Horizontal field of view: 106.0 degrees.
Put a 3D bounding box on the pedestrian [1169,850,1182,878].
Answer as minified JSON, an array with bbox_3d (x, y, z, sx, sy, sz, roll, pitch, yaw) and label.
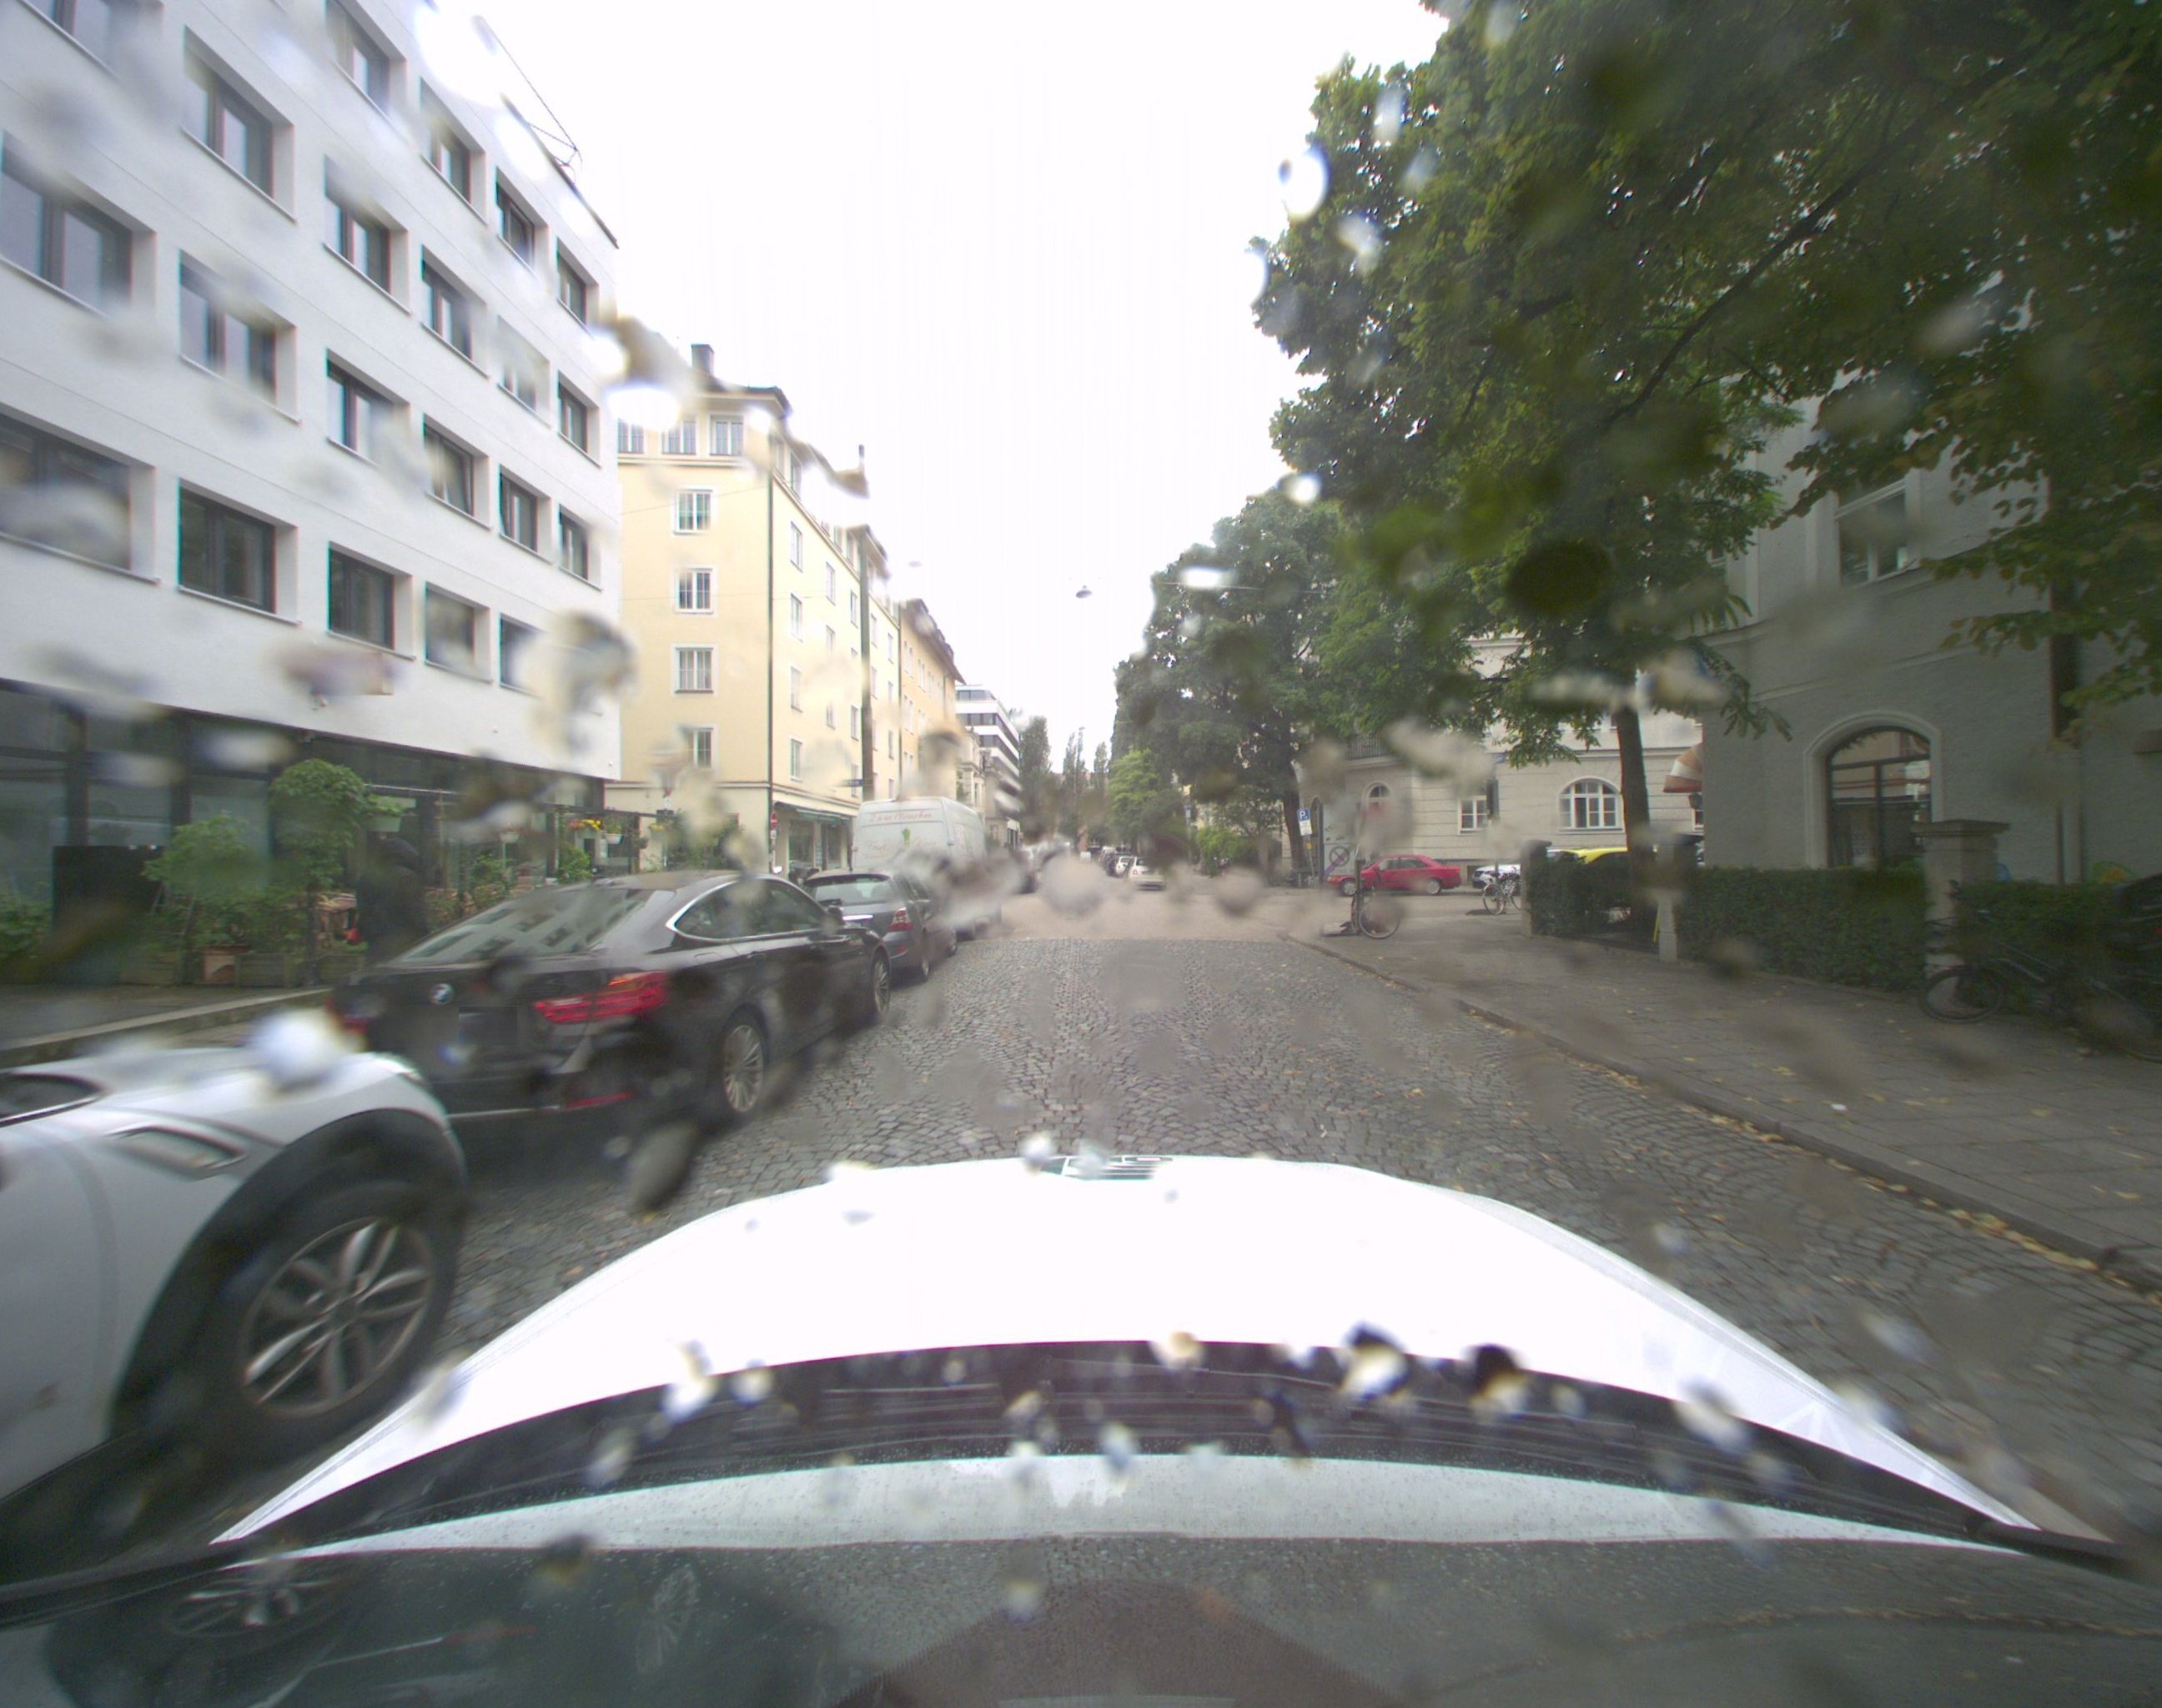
[{"bbox_3d":[6.300,0.657,54.284,0.631,1.808,0.655,0,-1,-24],"label":"pedestrian"}]

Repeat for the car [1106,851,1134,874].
[{"bbox_3d":[2.950,0.652,62.756,1.869,1.673,5.489,0,-1,0],"label":"car"}]

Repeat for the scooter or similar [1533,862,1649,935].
[{"bbox_3d":[8.580,0.750,13.762,1.588,1.172,0.407,-2,-1,23],"label":"scooter or similar"}]

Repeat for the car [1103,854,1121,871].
[{"bbox_3d":[3.627,0.982,96.285,1.794,1.949,4.859,2,-1,0],"label":"car"}]

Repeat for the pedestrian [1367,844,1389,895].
[{"bbox_3d":[11.127,0.575,30.566,0.492,1.876,0.741,0,-1,-5],"label":"pedestrian"}]

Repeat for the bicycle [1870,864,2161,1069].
[{"bbox_3d":[6.680,0.687,5.764,0.426,1.198,1.731,-6,-1,1],"label":"bicycle"}]

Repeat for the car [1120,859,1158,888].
[{"bbox_3d":[3.088,1.037,44.134,1.643,1.422,4.630,3,-1,-1],"label":"car"}]

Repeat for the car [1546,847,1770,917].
[{"bbox_3d":[13.907,0.659,19.896,4.048,1.597,1.911,0,-1,11],"label":"car"}]

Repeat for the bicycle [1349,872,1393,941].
[{"bbox_3d":[5.154,0.905,14.554,0.386,1.147,1.592,-1,-1,7],"label":"bicycle"}]

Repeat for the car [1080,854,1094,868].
[{"bbox_3d":[0.927,1.021,120.044,1.989,1.936,4.001,-1,-1,2],"label":"car"}]

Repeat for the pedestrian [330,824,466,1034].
[{"bbox_3d":[-6.335,0.660,7.594,0.613,1.840,0.812,-1,-1,-6],"label":"pedestrian"}]

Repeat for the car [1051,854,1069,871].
[{"bbox_3d":[-2.151,0.836,83.988,1.768,1.718,4.389,0,-1,-1],"label":"car"}]

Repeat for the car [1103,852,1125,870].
[{"bbox_3d":[3.330,0.746,83.138,1.957,1.759,4.952,0,-1,0],"label":"car"}]

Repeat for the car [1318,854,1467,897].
[{"bbox_3d":[10.480,0.716,27.681,4.443,1.358,1.764,-1,0,7],"label":"car"}]

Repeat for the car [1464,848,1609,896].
[{"bbox_3d":[14.918,0.588,26.805,3.867,1.521,1.568,-1,-1,5],"label":"car"}]

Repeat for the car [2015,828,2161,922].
[{"bbox_3d":[23.614,0.447,17.830,3.894,1.969,1.780,0,-1,11],"label":"car"}]

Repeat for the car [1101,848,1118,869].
[{"bbox_3d":[3.530,0.547,101.728,1.889,2.426,5.609,3,0,0],"label":"car"}]

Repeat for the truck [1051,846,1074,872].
[{"bbox_3d":[-2.256,0.567,100.490,2.501,3.031,6.382,-3,0,-1],"label":"truck"}]

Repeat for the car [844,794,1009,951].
[{"bbox_3d":[-2.900,0.341,16.780,1.969,2.574,5.797,-3,-1,2],"label":"car"}]

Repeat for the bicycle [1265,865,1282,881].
[{"bbox_3d":[10.111,0.968,42.848,0.489,0.812,2.276,0,-1,5],"label":"bicycle"}]

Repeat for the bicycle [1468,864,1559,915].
[{"bbox_3d":[9.764,0.819,18.441,1.594,1.069,0.739,-3,-4,3],"label":"bicycle"}]

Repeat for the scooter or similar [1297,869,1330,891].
[{"bbox_3d":[9.252,1.020,32.410,1.176,0.848,0.927,0,-1,9],"label":"scooter or similar"}]

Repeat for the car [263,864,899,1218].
[{"bbox_3d":[-2.764,0.872,5.918,1.720,1.464,4.474,-3,0,1],"label":"car"}]

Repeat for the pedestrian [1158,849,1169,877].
[{"bbox_3d":[5.456,0.586,54.070,0.677,1.850,0.577,0,-1,1],"label":"pedestrian"}]

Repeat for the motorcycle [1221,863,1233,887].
[{"bbox_3d":[6.757,0.962,37.692,0.361,1.090,1.404,0,-1,3],"label":"motorcycle"}]

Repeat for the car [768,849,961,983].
[{"bbox_3d":[-2.714,0.714,11.106,1.657,1.482,3.979,0,-1,-2],"label":"car"}]

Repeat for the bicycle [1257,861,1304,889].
[{"bbox_3d":[8.154,0.847,33.375,1.826,1.124,0.564,-1,0,11],"label":"bicycle"}]

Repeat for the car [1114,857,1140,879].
[{"bbox_3d":[3.244,0.967,57.651,1.625,1.469,3.658,2,-1,0],"label":"car"}]

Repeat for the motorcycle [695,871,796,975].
[{"bbox_3d":[-4.856,0.946,11.954,0.672,1.369,2.058,0,-1,-2],"label":"motorcycle"}]

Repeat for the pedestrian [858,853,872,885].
[{"bbox_3d":[-10.957,0.765,41.299,0.520,1.642,0.629,0,-1,0],"label":"pedestrian"}]

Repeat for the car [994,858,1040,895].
[{"bbox_3d":[-2.849,0.978,37.211,1.847,1.586,4.745,0,-1,-1],"label":"car"}]

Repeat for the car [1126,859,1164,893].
[{"bbox_3d":[2.863,0.960,36.976,1.496,1.471,3.796,0,-1,1],"label":"car"}]

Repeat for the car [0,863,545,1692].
[{"bbox_3d":[-2.839,0.770,1.010,1.686,1.504,3.780,0,-1,3],"label":"car"}]

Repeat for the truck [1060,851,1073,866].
[{"bbox_3d":[-2.282,0.662,129.457,1.987,2.347,4.067,0,-1,0],"label":"truck"}]

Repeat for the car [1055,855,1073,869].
[{"bbox_3d":[-1.886,0.913,89.356,1.934,1.459,4.056,0,-1,-1],"label":"car"}]

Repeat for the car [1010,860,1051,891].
[{"bbox_3d":[-2.550,1.073,42.028,1.768,1.536,4.540,0,-1,0],"label":"car"}]

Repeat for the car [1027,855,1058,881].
[{"bbox_3d":[-2.475,0.884,53.379,1.767,1.647,4.392,0,-1,1],"label":"car"}]
